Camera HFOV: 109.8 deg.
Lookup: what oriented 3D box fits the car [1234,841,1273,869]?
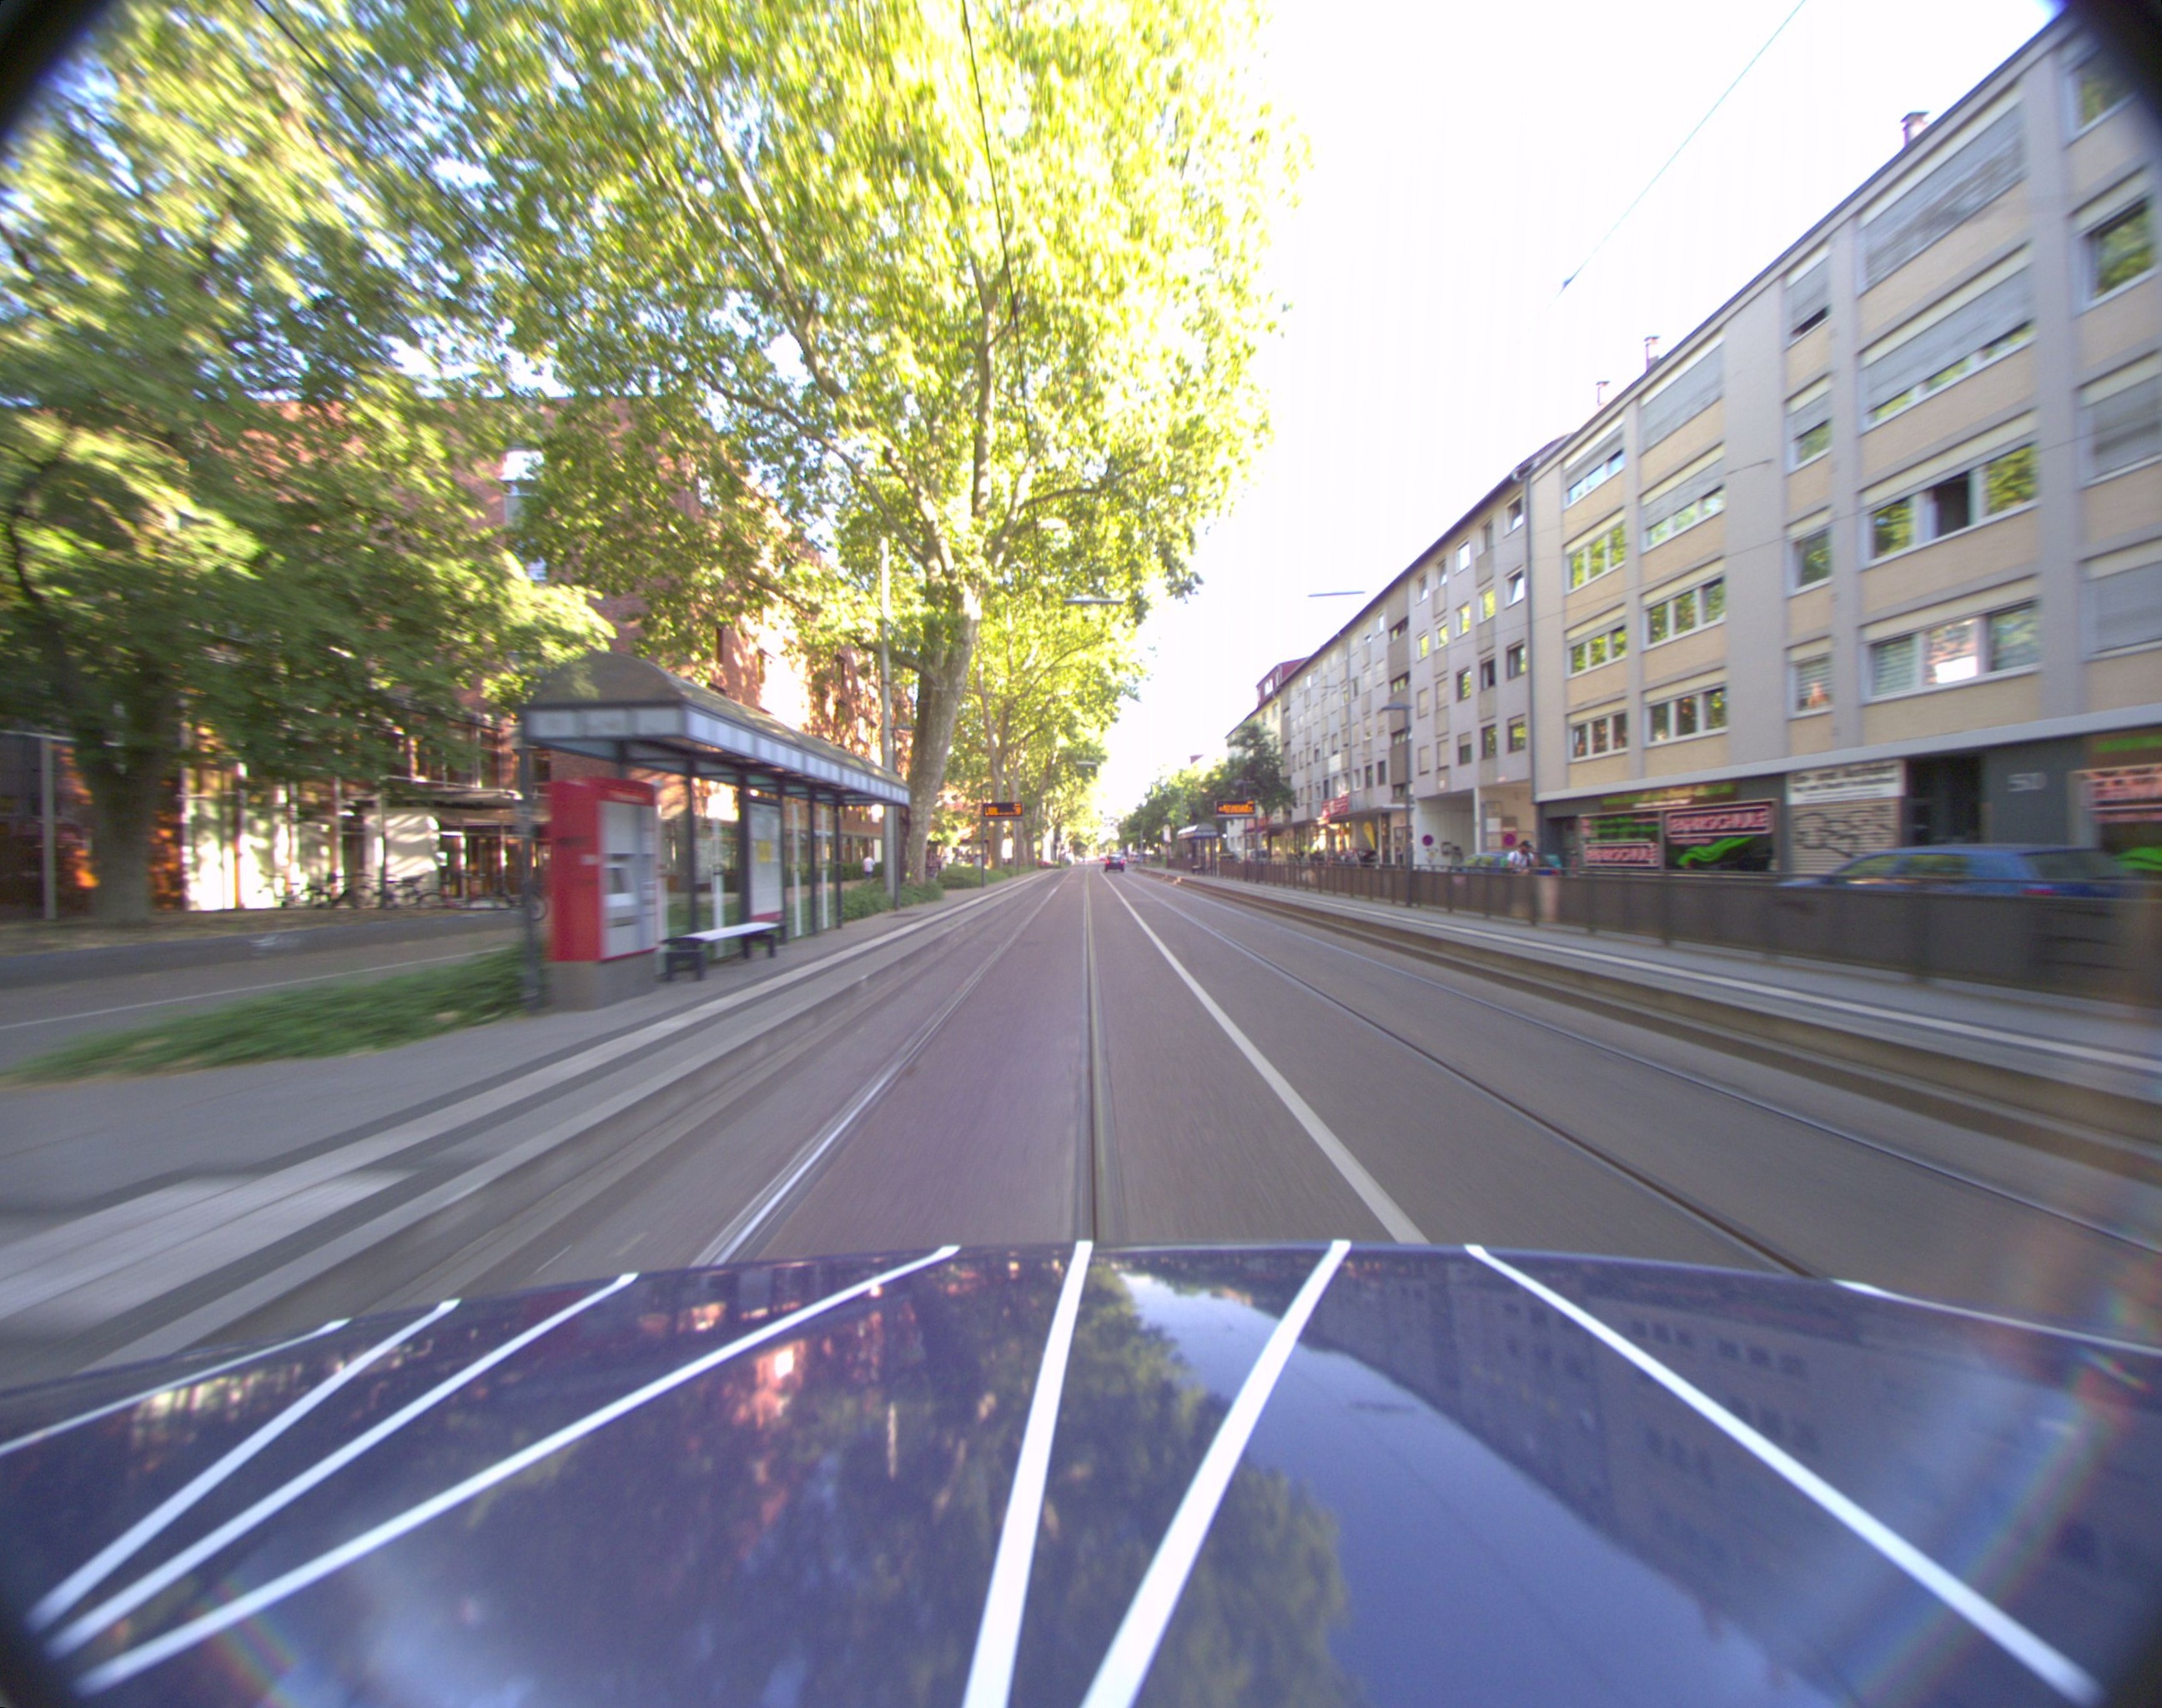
[{"bbox_3d":[12.596,0.081,55.728,1.808,1.923,4.049,-1,0,-1],"label":"car"}]

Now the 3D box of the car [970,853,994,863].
[{"bbox_3d":[-15.863,0.629,121.874,3.674,1.521,2.000,-1,0,1],"label":"car"}]

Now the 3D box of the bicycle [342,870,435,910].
[{"bbox_3d":[-21.044,1.074,23.132,1.953,1.150,0.732,0,1,-25],"label":"bicycle"}]

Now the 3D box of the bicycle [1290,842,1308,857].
[{"bbox_3d":[16.341,-0.330,56.932,0.572,1.150,2.036,-1,0,-5],"label":"bicycle"}]

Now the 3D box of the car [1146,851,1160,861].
[{"bbox_3d":[11.416,0.286,120.455,1.998,1.521,3.678,-1,0,3],"label":"car"}]

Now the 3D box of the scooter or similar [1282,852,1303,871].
[{"bbox_3d":[13.213,0.475,47.423,0.447,1.167,1.272,-1,1,-36],"label":"scooter or similar"}]

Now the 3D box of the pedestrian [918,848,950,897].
[{"bbox_3d":[-4.996,0.616,25.816,0.770,1.650,0.915,-1,1,-34],"label":"pedestrian"}]

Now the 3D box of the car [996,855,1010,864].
[{"bbox_3d":[-14.054,1.045,136.800,1.998,1.521,3.678,-1,0,3],"label":"car"}]

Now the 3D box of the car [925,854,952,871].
[{"bbox_3d":[-12.756,0.721,68.226,1.657,1.499,3.961,-1,0,1],"label":"car"}]

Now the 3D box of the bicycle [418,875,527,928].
[{"bbox_3d":[-13.899,1.077,17.376,2.036,1.150,0.572,1,1,1],"label":"bicycle"}]

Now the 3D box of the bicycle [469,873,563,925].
[{"bbox_3d":[-13.562,1.066,18.252,2.034,1.150,0.572,1,1,11],"label":"bicycle"}]

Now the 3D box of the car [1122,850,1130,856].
[{"bbox_3d":[12.163,-0.236,206.833,1.998,1.521,3.677,-1,0,0],"label":"car"}]

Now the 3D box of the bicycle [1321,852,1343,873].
[{"bbox_3d":[13.931,0.466,42.228,0.494,1.150,1.751,-1,0,-5],"label":"bicycle"}]

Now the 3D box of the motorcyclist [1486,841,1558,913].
[{"bbox_3d":[9.083,0.451,15.688,0.876,1.432,1.016,-1,1,0],"label":"motorcyclist"}]

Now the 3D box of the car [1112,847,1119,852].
[{"bbox_3d":[11.289,-1.396,248.121,1.998,1.741,3.677,-1,0,0],"label":"car"}]

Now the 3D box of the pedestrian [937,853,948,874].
[{"bbox_3d":[-10.913,0.749,59.970,0.711,1.681,0.748,-1,1,-1],"label":"pedestrian"}]

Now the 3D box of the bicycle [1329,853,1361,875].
[{"bbox_3d":[13.921,0.518,40.074,0.561,1.150,2.028,-1,0,-15],"label":"bicycle"}]

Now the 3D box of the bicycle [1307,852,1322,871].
[{"bbox_3d":[14.330,0.447,46.654,0.513,1.150,1.688,-1,0,4],"label":"bicycle"}]

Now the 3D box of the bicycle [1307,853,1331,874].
[{"bbox_3d":[13.805,0.549,44.159,0.572,1.150,2.036,-1,0,-5],"label":"bicycle"}]

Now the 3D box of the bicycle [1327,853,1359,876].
[{"bbox_3d":[13.673,0.532,39.706,0.561,1.150,2.028,-1,0,-15],"label":"bicycle"}]

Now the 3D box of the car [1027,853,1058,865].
[{"bbox_3d":[-4.967,0.645,97.766,3.872,1.521,2.000,-1,0,1],"label":"car"}]

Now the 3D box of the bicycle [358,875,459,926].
[{"bbox_3d":[-16.094,1.091,18.201,2.035,1.150,0.572,1,1,6],"label":"bicycle"}]

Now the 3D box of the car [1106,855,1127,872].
[{"bbox_3d":[3.336,0.888,72.245,1.766,1.579,3.999,-1,0,-1],"label":"car"}]

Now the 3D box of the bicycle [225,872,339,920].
[{"bbox_3d":[-21.255,1.097,20.273,0.707,1.150,2.039,1,1,10],"label":"bicycle"}]

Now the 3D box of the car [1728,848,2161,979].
[{"bbox_3d":[12.263,0.688,11.062,1.961,1.535,4.388,0,0,1],"label":"car"}]

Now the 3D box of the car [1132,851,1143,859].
[{"bbox_3d":[11.523,0.186,155.287,1.998,1.521,3.678,-1,0,3],"label":"car"}]

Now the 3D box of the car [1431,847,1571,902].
[{"bbox_3d":[12.144,0.539,22.329,1.799,1.455,4.282,0,0,1],"label":"car"}]

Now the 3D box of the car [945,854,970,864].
[{"bbox_3d":[-19.767,0.769,121.933,3.674,1.521,2.000,-1,0,1],"label":"car"}]

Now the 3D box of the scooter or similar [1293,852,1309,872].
[{"bbox_3d":[13.342,0.476,46.104,0.446,1.167,1.274,-1,0,-5],"label":"scooter or similar"}]

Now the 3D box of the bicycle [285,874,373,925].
[{"bbox_3d":[-18.062,1.084,18.261,1.681,1.150,0.572,1,1,6],"label":"bicycle"}]

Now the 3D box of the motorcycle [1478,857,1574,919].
[{"bbox_3d":[9.099,0.661,15.638,0.851,1.157,1.915,-1,0,0],"label":"motorcycle"}]

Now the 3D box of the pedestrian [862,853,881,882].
[{"bbox_3d":[-12.013,0.770,43.605,0.768,1.650,0.917,-1,1,1],"label":"pedestrian"}]

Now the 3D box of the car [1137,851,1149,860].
[{"bbox_3d":[11.523,0.303,140.961,1.998,1.521,3.678,-1,0,3],"label":"car"}]
